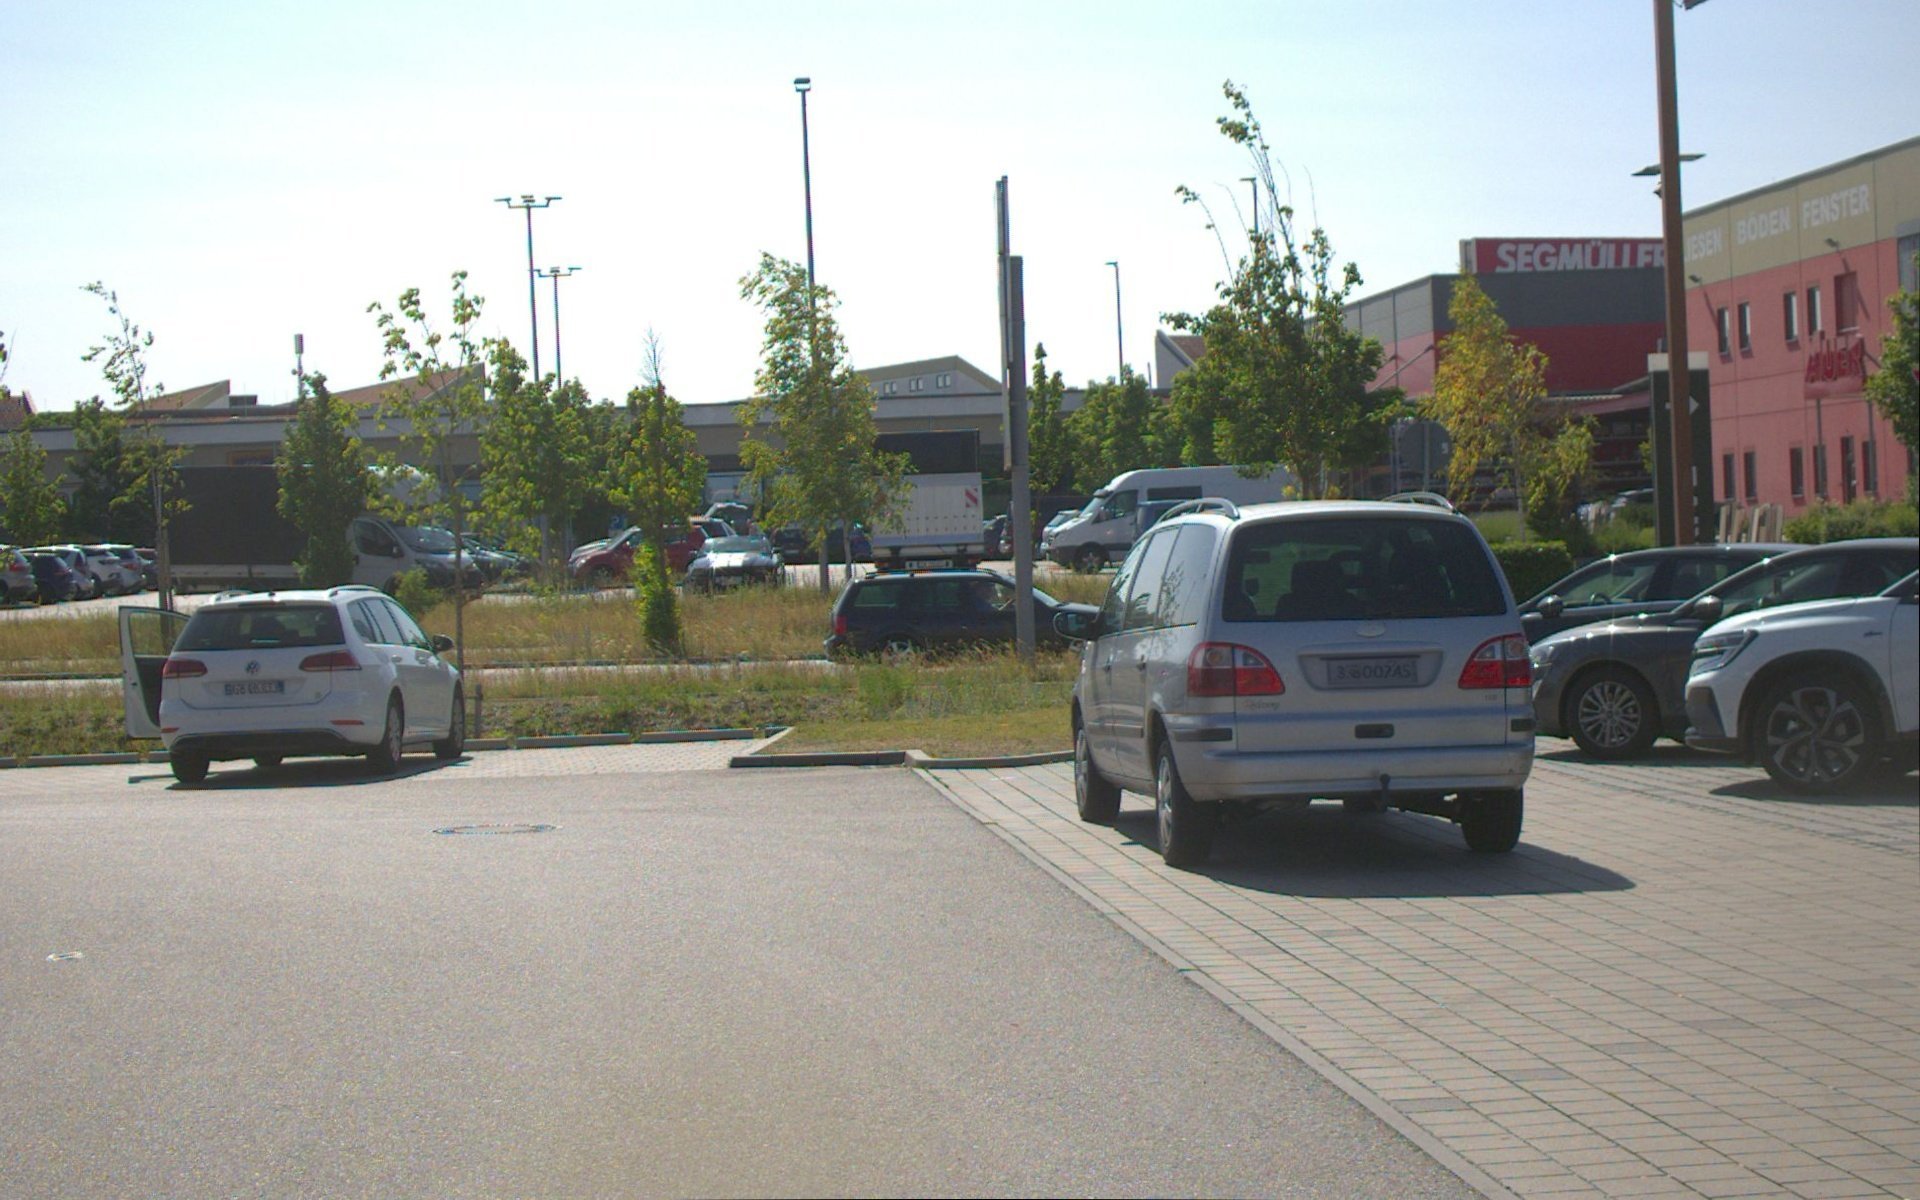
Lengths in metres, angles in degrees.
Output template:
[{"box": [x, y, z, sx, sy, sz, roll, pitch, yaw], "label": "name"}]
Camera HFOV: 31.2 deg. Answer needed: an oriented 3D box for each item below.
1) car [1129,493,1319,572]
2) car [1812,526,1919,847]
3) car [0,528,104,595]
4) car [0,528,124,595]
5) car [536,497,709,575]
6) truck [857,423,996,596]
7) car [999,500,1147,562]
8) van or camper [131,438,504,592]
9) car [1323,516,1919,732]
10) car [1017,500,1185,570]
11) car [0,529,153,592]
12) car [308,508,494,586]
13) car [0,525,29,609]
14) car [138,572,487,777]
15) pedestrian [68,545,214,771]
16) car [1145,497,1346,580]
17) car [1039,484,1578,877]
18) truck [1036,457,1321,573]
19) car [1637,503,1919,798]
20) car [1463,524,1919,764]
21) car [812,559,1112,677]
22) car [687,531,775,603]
[{"box": [6.556, -1.678, 85.634, 4.389, 1.849, 1.956, -1, 1, -6], "label": "car"}, {"box": [6.705, 0.376, 16.173, 4.839, 1.521, 1.972, -1, 1, 32], "label": "car"}, {"box": [-26.794, -1.077, 97.955, 4.389, 1.849, 1.956, -1, 1, -6], "label": "car"}, {"box": [-26.799, -1.122, 100.317, 4.389, 1.849, 1.956, -1, 1, -6], "label": "car"}, {"box": [-8.474, -1.609, 86.320, 4.252, 1.849, 1.870, -1, 1, -6], "label": "car"}, {"box": [-0.702, -1.903, 73.316, 2.759, 3.469, 6.833, -1, 1, 0], "label": "truck"}, {"box": [3.525, -2.161, 107.828, 4.389, 1.849, 1.956, -1, 1, -6], "label": "car"}, {"box": [-13.807, -1.787, 73.698, 8.041, 3.091, 2.416, -1, 1, 28], "label": "van or camper"}, {"box": [5.216, 0.162, 26.844, 4.328, 1.521, 1.971, 0, 2, 39], "label": "car"}, {"box": [3.893, -1.807, 95.393, 4.389, 1.849, 1.956, -1, 1, -6], "label": "car"}, {"box": [-27.338, -1.224, 106.261, 4.389, 1.849, 1.956, -1, 1, -6], "label": "car"}, {"box": [-15.291, -1.462, 94.031, 4.914, 2.007, 2.083, -1, 1, -10], "label": "car"}, {"box": [-22.440, -0.682, 75.100, 1.951, 1.849, 4.401, -1, 1, 18], "label": "car"}, {"box": [-5.127, 0.556, 27.817, 1.827, 1.464, 4.481, -2, 0, 2], "label": "car"}, {"box": [-6.732, 0.469, 28.297, 0.991, 1.803, 0.726, -2, 0, -1], "label": "pedestrian"}, {"box": [6.670, -1.441, 80.590, 4.389, 1.849, 1.956, -1, 1, -6], "label": "car"}, {"box": [1.662, 0.335, 18.112, 1.827, 1.742, 4.684, -2, 1, -6], "label": "car"}, {"box": [5.586, -2.186, 88.278, 7.034, 2.805, 1.956, -1, 1, -6], "label": "truck"}, {"box": [6.251, 0.250, 19.844, 4.199, 1.649, 1.973, -1, 1, 27], "label": "car"}, {"box": [5.761, 0.264, 23.277, 4.200, 1.521, 1.972, -1, 1, 31], "label": "car"}, {"box": [0.003, 0.235, 46.889, 3.986, 1.490, 1.677, -1, 1, -1], "label": "car"}, {"box": [-4.884, -0.722, 73.707, 1.650, 1.454, 3.967, -1, 1, -1], "label": "car"}]
